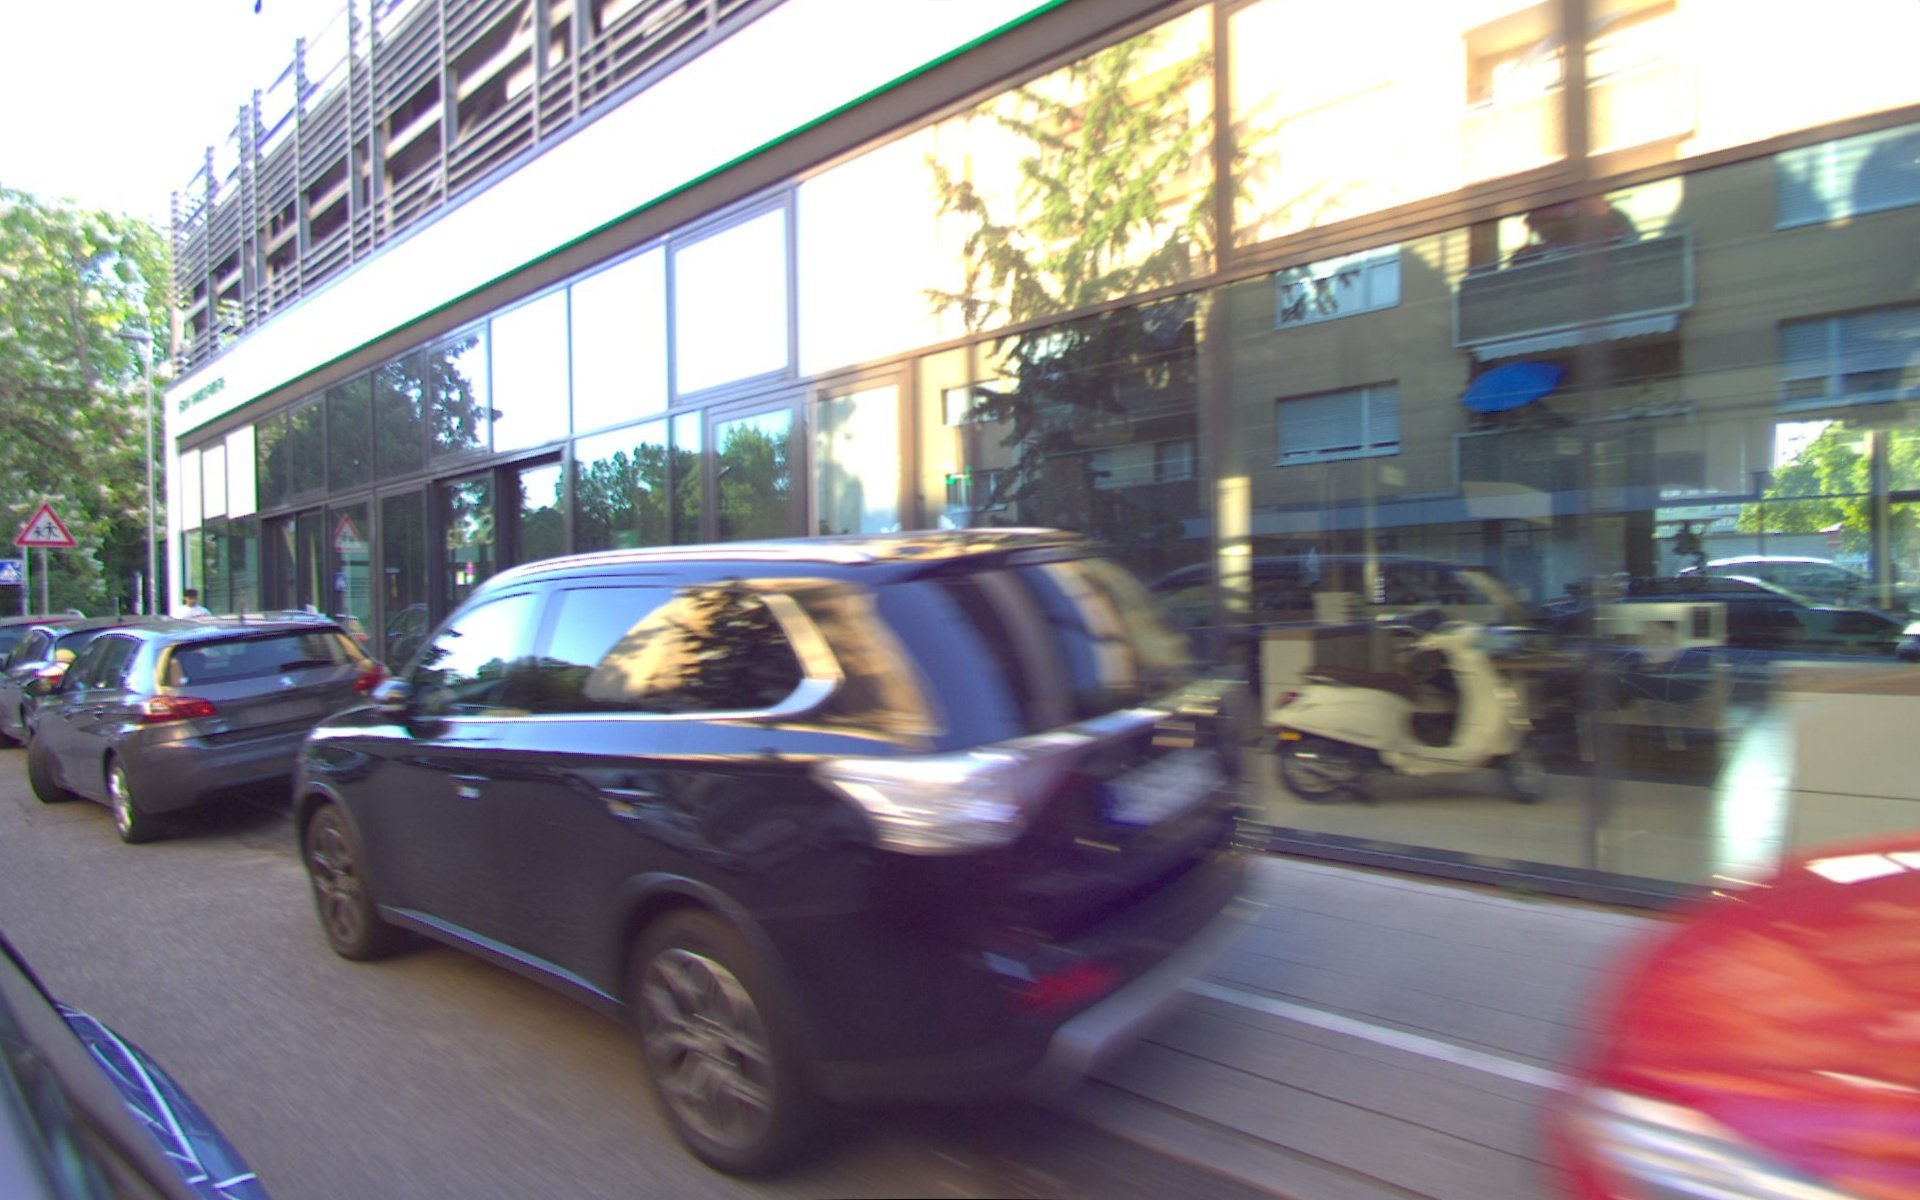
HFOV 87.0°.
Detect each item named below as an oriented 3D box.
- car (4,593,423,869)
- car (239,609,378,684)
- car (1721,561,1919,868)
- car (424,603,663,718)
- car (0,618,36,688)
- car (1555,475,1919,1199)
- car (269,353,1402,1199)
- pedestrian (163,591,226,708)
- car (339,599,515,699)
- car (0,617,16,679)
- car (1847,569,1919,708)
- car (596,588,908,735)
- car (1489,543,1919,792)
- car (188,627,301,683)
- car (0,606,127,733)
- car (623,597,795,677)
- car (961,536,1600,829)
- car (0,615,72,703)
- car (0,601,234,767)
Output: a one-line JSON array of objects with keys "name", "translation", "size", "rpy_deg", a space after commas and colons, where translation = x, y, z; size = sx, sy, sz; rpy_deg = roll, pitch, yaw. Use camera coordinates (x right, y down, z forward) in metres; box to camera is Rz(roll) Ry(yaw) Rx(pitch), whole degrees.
[{"name": "car", "translation": [-6.136, 0.836, 8.115], "size": [4.204, 1.609, 1.916], "rpy_deg": [-3, -1, 42]}, {"name": "car", "translation": [-14.736, 1.012, 22.806], "size": [3.873, 1.534, 1.577], "rpy_deg": [-2, -1, 40]}, {"name": "car", "translation": [6.042, 0.520, 4.795], "size": [3.779, 1.485, 1.680], "rpy_deg": [-2, -1, 41]}, {"name": "car", "translation": [-6.512, 0.865, 15.621], "size": [4.189, 1.526, 1.680], "rpy_deg": [-2, -1, 41]}, {"name": "car", "translation": [-22.267, 1.240, 22.636], "size": [4.410, 1.426, 1.646], "rpy_deg": [-2, 5, 40]}, {"name": "car", "translation": [2.675, 0.605, 0.572], "size": [3.788, 1.517, 1.680], "rpy_deg": [-1, 0, 41]}, {"name": "car", "translation": [-0.915, 0.509, 3.799], "size": [4.400, 1.769, 1.680], "rpy_deg": [-2, -1, 41]}, {"name": "pedestrian", "translation": [-12.723, 0.802, 16.818], "size": [0.620, 1.892, 0.713], "rpy_deg": [-3, -1, 41]}, {"name": "car", "translation": [-10.003, 0.874, 18.875], "size": [3.873, 1.662, 1.577], "rpy_deg": [-2, -1, 40]}, {"name": "car", "translation": [-25.654, 1.298, 25.676], "size": [3.875, 1.525, 1.648], "rpy_deg": [-2, 2, 35]}, {"name": "car", "translation": [10.072, 0.304, 9.003], "size": [3.212, 1.264, 1.405], "rpy_deg": [-2, -1, 41]}, {"name": "car", "translation": [-2.674, 0.680, 12.497], "size": [3.991, 1.526, 1.680], "rpy_deg": [-2, -1, 41]}, {"name": "car", "translation": [6.410, 0.458, 7.921], "size": [3.735, 1.671, 1.680], "rpy_deg": [-1, 0, 41]}, {"name": "car", "translation": [-18.649, 1.398, 26.327], "size": [3.448, 1.303, 1.577], "rpy_deg": [-2, -1, 40]}, {"name": "car", "translation": [-13.606, 0.963, 14.680], "size": [3.883, 1.508, 1.645], "rpy_deg": [-2, 5, 42]}, {"name": "car", "translation": [-5.535, 0.785, 22.089], "size": [3.917, 1.573, 1.680], "rpy_deg": [-2, -1, 41]}, {"name": "car", "translation": [2.234, 0.517, 7.852], "size": [4.406, 1.671, 1.680], "rpy_deg": [-2, -1, 41]}, {"name": "car", "translation": [-18.142, 1.120, 18.791], "size": [3.921, 1.421, 1.647], "rpy_deg": [-2, 4, 38]}, {"name": "car", "translation": [-10.041, 0.854, 11.602], "size": [4.002, 1.413, 1.712], "rpy_deg": [-2, 5, 40]}]
